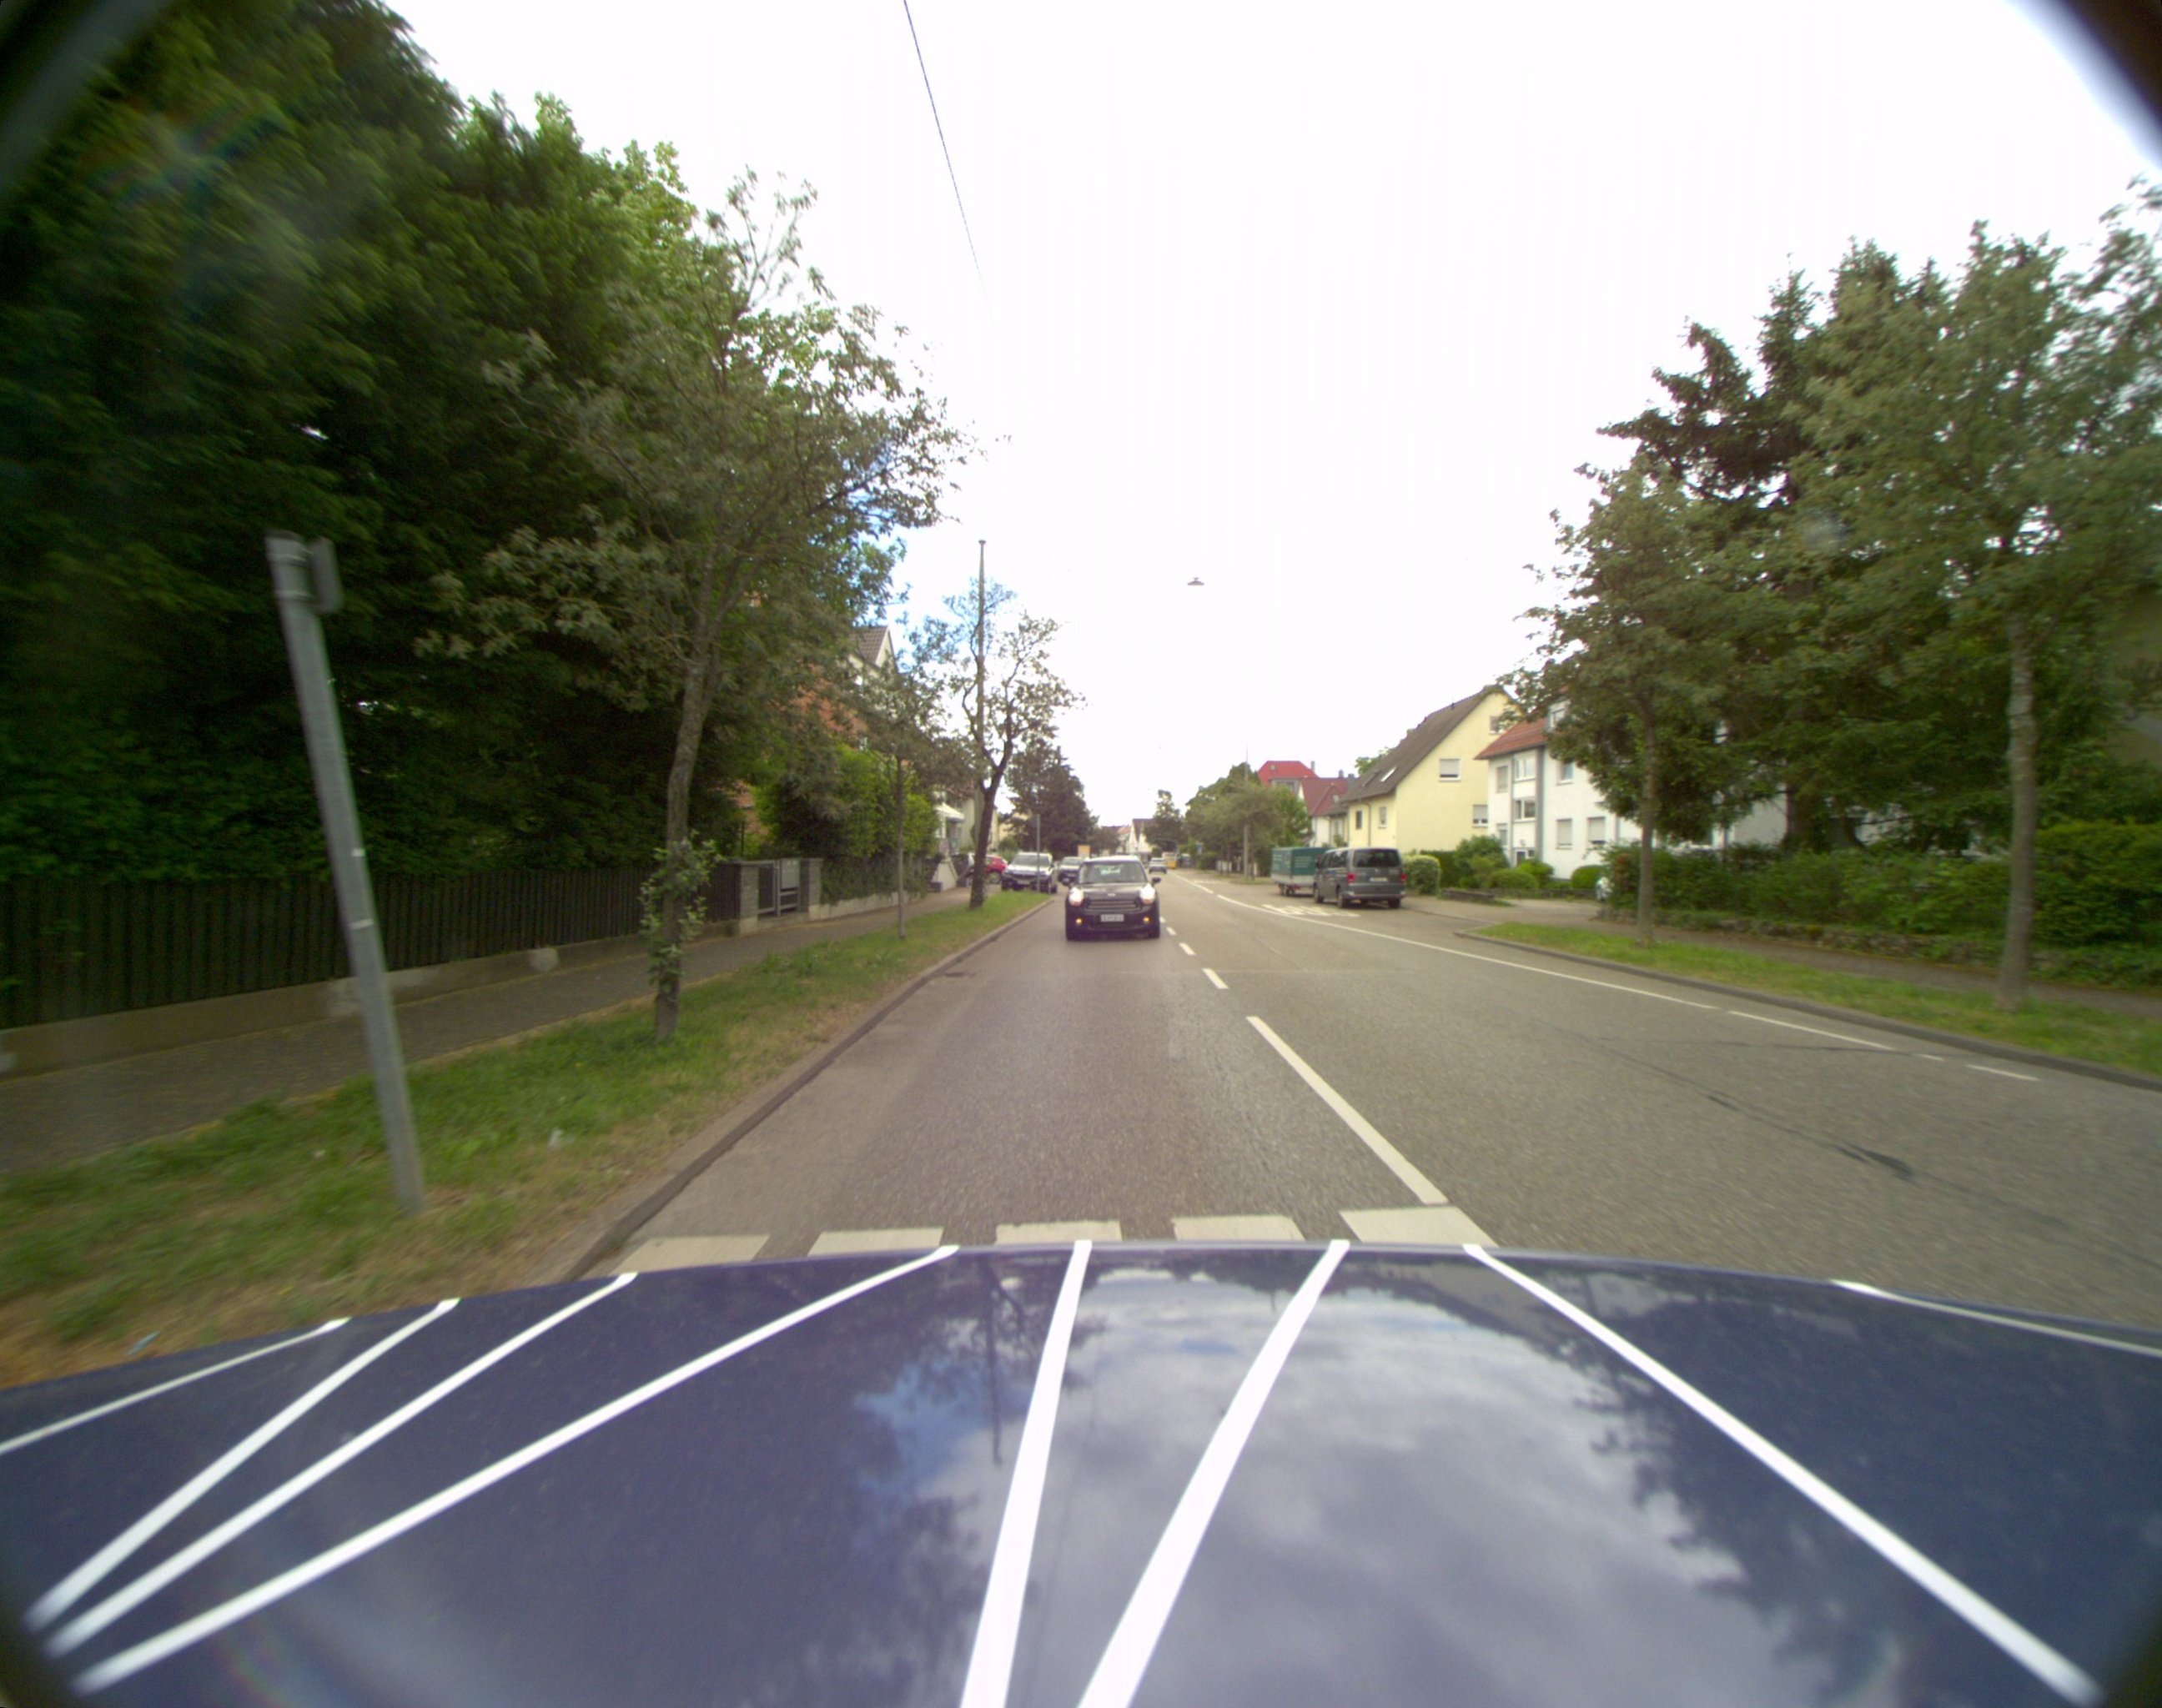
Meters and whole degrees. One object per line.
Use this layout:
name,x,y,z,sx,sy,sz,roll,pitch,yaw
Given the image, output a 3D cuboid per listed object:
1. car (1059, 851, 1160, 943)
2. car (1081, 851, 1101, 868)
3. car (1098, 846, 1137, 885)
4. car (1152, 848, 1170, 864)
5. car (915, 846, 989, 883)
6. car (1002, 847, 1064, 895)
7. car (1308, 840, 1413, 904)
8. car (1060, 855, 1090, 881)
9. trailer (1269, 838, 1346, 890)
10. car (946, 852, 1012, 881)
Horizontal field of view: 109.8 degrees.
car,0.647,0.755,15.328,1.743,1.573,3.685,-2,0,4
car,0.970,0.506,71.574,1.680,1.573,3.685,0,1,4
car,1.652,0.463,33.157,1.589,1.598,3.685,0,1,4
car,8.403,0.184,80.122,1.825,1.594,4.300,-1,0,6
car,-6.393,0.526,37.823,3.360,1.624,1.580,3,1,-1
car,-1.944,0.653,32.343,1.902,1.826,4.916,1,1,5
car,9.279,0.520,25.685,1.998,1.938,4.899,0,1,3
car,-0.345,0.863,49.605,1.728,1.582,4.157,2,1,2
trailer,9.640,0.373,32.737,2.159,2.076,4.426,0,0,3
car,-5.438,0.642,40.693,3.361,1.451,1.748,1,1,-4
